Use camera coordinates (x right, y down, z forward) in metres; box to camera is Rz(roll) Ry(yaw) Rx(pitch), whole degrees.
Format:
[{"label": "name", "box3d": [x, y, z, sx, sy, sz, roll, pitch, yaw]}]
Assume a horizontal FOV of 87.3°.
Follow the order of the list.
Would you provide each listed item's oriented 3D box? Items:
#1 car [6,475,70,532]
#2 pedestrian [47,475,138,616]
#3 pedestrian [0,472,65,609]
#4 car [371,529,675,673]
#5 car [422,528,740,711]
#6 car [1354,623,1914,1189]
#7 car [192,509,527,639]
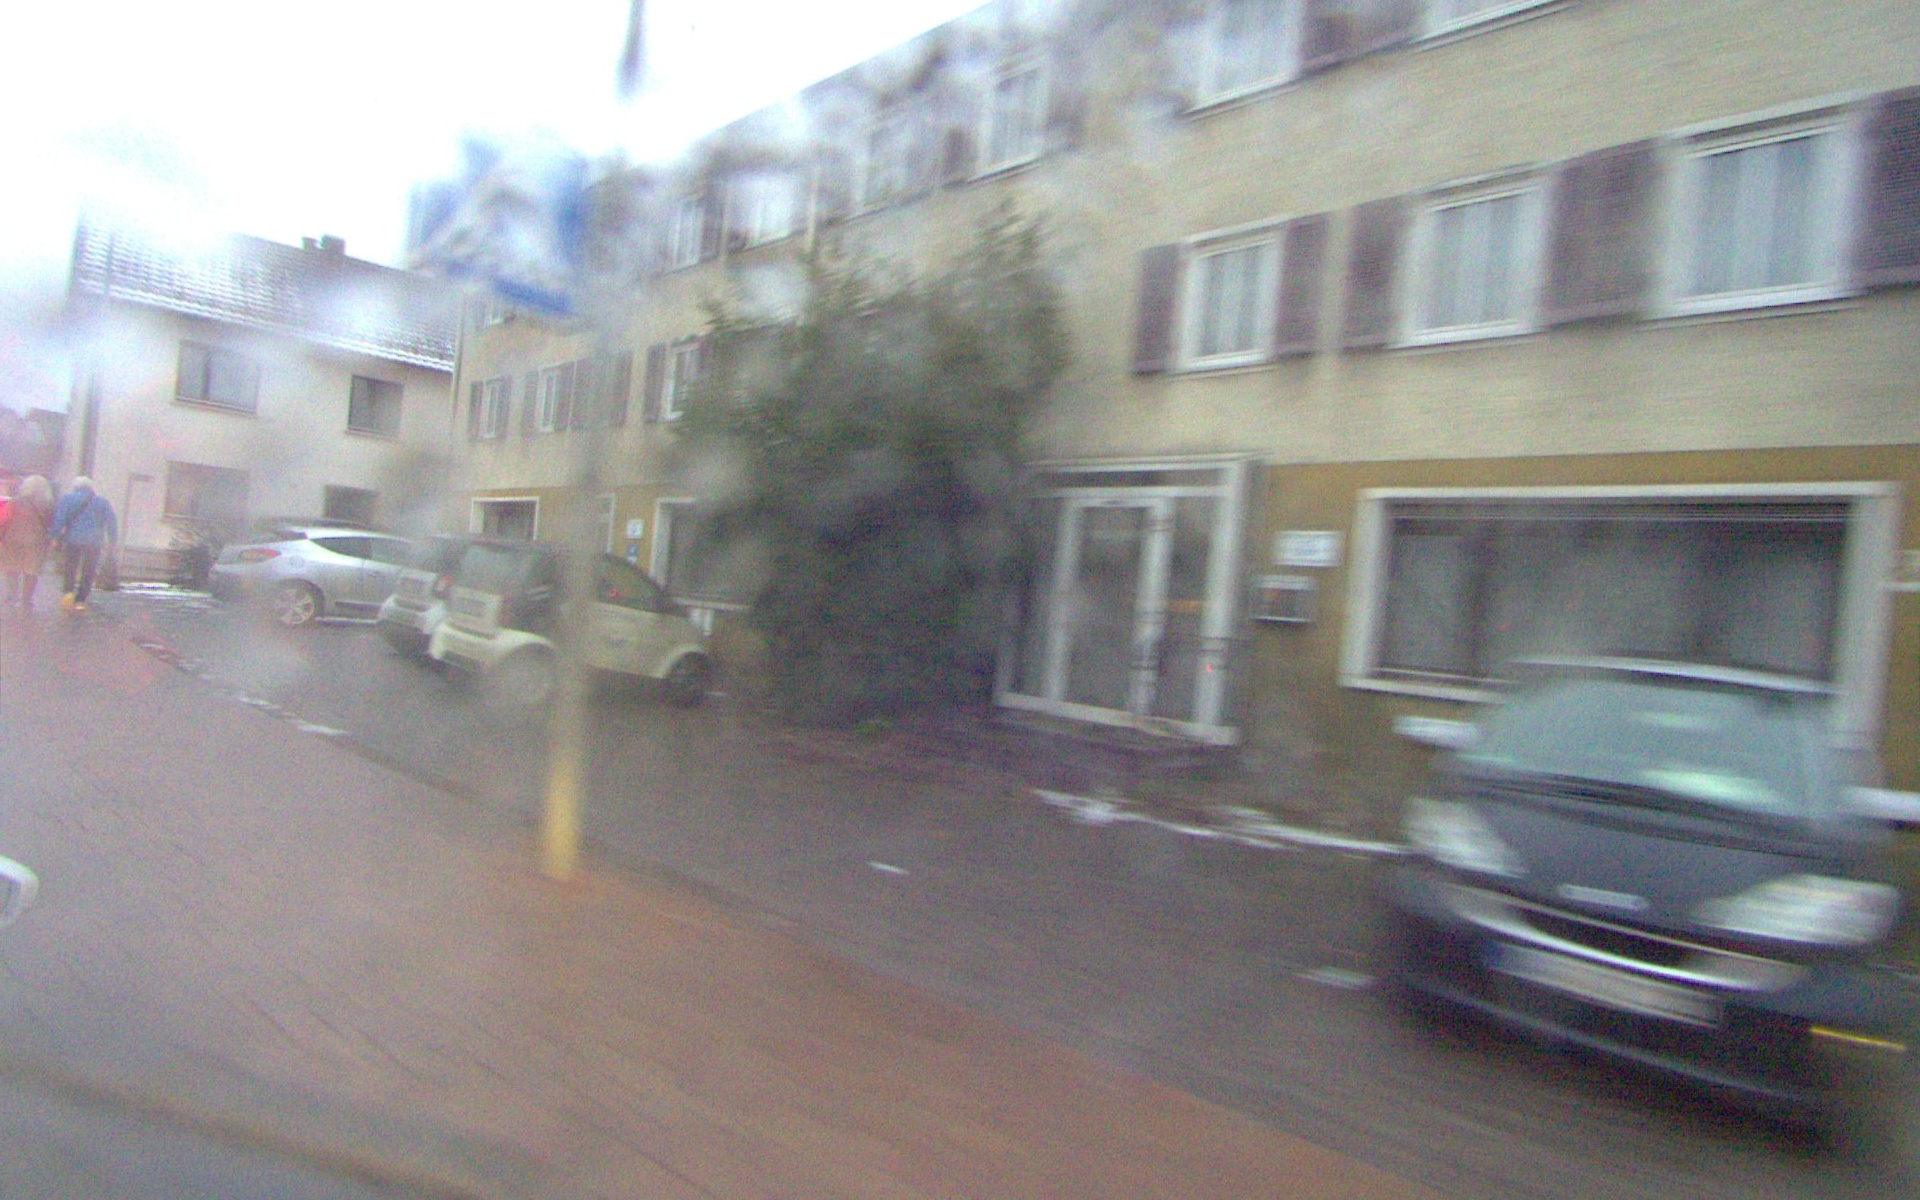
[{"label": "car", "box3d": [-45.048, -4.683, 49.205, 1.805, 2.443, 3.712, 7, 0, -38]}, {"label": "pedestrian", "box3d": [-11.524, -0.721, 13.369, 0.844, 1.757, 0.960, 2, 3, -42]}, {"label": "pedestrian", "box3d": [-12.172, -0.782, 12.997, 0.863, 1.689, 0.980, 2, 3, -43]}, {"label": "car", "box3d": [-5.388, 0.061, 12.604, 1.529, 1.493, 3.057, 7, 1, 43]}, {"label": "car", "box3d": [-3.864, 0.225, 10.453, 1.529, 1.567, 2.579, 7, 1, 40]}, {"label": "car", "box3d": [2.968, 0.972, 4.371, 1.406, 1.493, 2.759, 6, 1, 40]}, {"label": "car", "box3d": [-8.786, -0.331, 14.953, 1.727, 1.493, 3.890, 6, 1, 43]}]
